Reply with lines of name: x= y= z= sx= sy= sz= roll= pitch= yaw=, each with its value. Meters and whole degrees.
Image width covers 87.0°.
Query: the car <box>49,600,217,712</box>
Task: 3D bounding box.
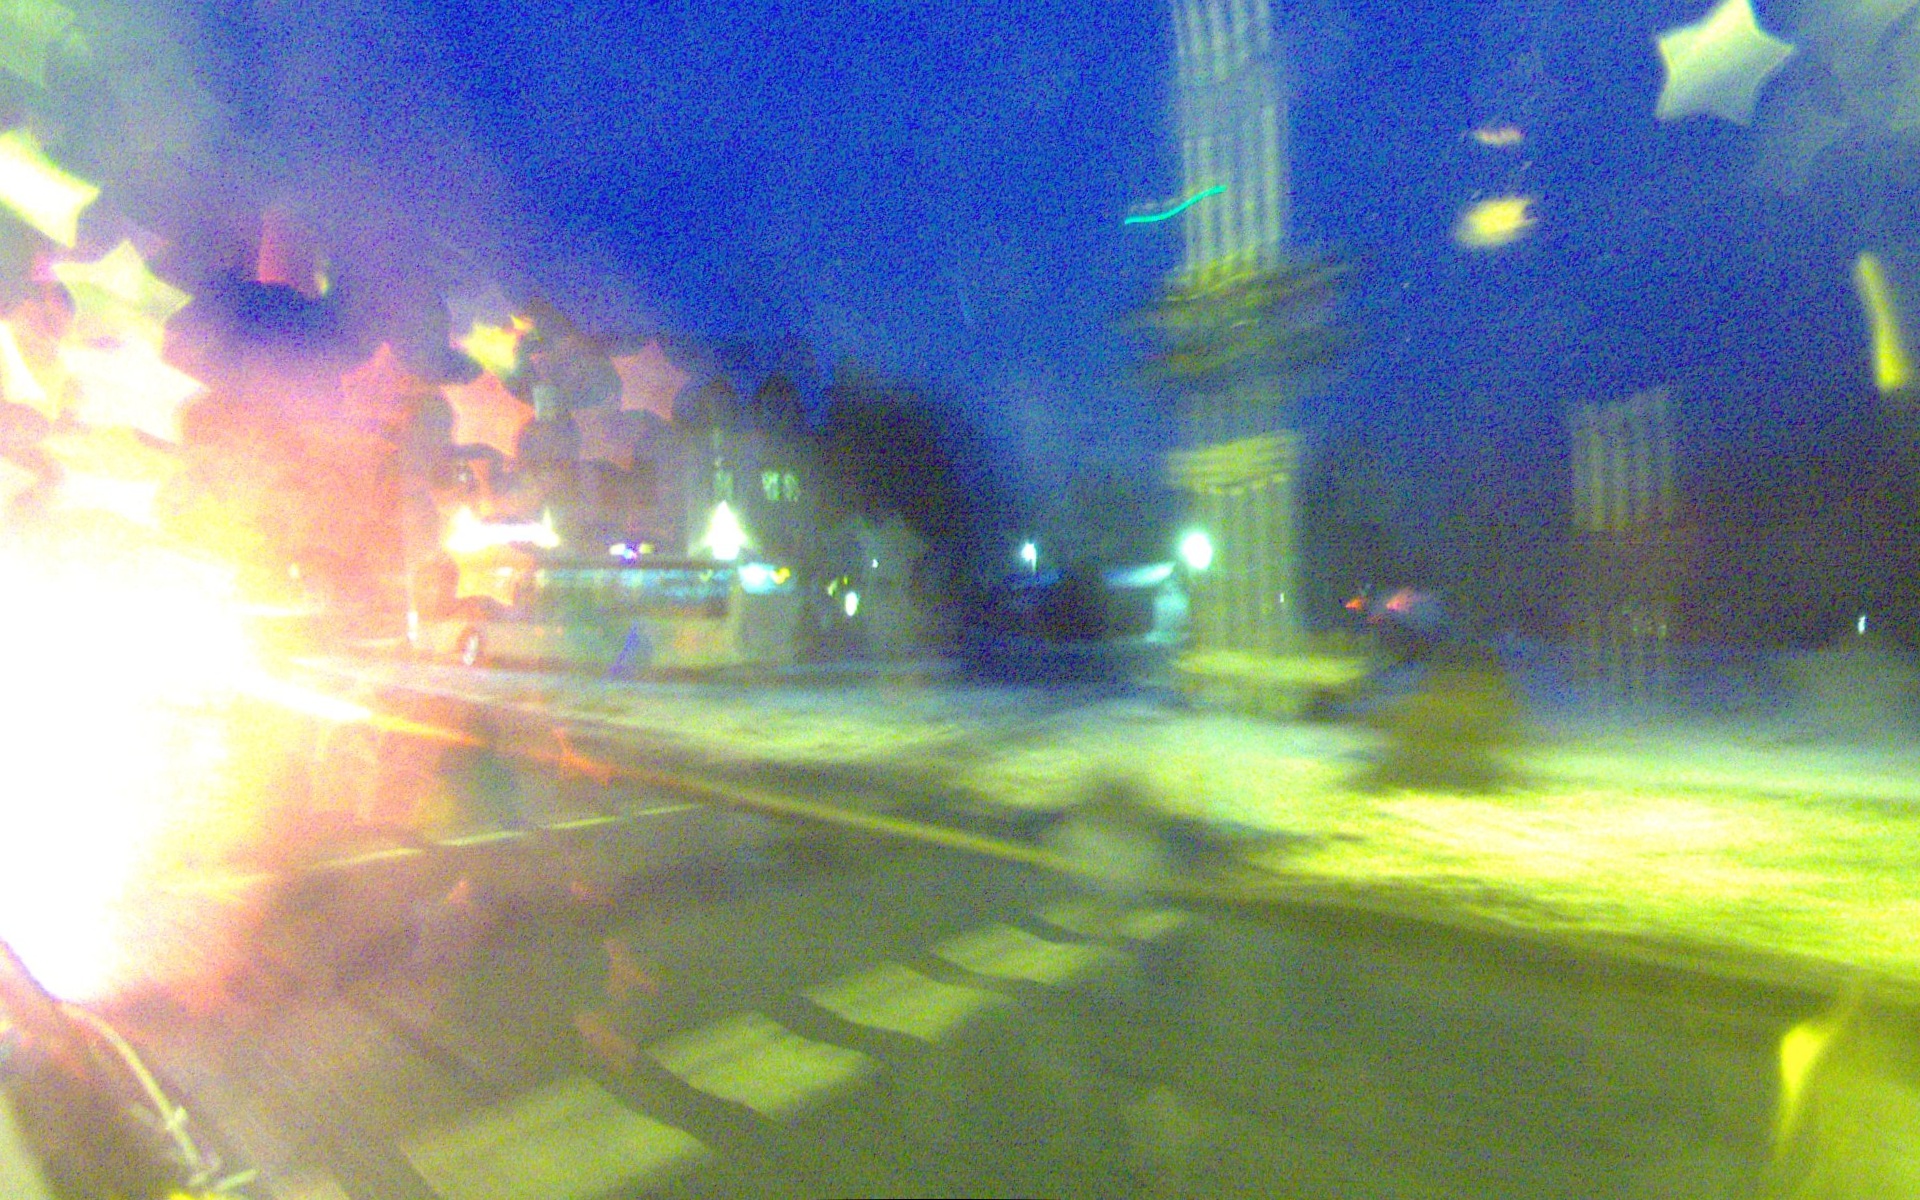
car: x=-13.406 y=0.814 z=16.319 sx=4.119 sy=1.522 sz=1.617 roll=1 pitch=-1 yaw=45

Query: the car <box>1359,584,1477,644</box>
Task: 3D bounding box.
car: x=17.453 y=0.462 z=38.573 sx=3.981 sy=2.071 sz=1.982 roll=1 pitch=3 yaw=28

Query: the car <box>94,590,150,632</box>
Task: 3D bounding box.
car: x=-33.990 y=0.408 z=41.131 sx=1.674 sy=1.611 sz=3.808 roll=0 pitch=1 yaw=-39

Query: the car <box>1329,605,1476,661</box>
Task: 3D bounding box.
car: x=15.817 y=1.132 z=36.217 sx=4.610 sy=1.709 sz=1.923 roll=2 pitch=3 yaw=30

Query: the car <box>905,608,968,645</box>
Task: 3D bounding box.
car: x=-1.152 y=1.235 z=47.952 sx=1.829 sy=1.408 sz=4.053 roll=3 pitch=2 yaw=-18

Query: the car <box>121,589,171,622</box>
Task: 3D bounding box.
car: x=-40.045 y=0.251 z=49.843 sx=1.689 sy=1.487 sz=3.878 roll=-2 pitch=2 yaw=-36

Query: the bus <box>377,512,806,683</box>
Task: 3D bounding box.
bus: x=-10.315 y=-0.118 z=27.366 sx=12.994 sy=3.897 sz=2.876 roll=0 pitch=1 yaw=27

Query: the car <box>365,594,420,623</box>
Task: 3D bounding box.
car: x=-30.263 y=0.448 z=54.054 sx=1.665 sy=1.408 sz=4.163 roll=3 pitch=0 yaw=-17

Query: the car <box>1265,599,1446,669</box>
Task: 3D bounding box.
car: x=11.343 y=0.911 z=29.136 sx=4.610 sy=1.709 sz=1.923 roll=2 pitch=3 yaw=30

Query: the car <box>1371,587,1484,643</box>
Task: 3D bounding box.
car: x=18.758 y=0.559 z=40.644 sx=3.981 sy=2.071 sz=1.748 roll=2 pitch=3 yaw=28

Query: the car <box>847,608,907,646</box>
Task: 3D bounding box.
car: x=-3.942 y=1.240 z=47.277 sx=1.829 sy=1.408 sz=4.053 roll=3 pitch=2 yaw=-18

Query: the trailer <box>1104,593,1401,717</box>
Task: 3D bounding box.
trailer: x=4.476 y=0.808 z=15.749 sx=4.092 sy=1.690 sz=1.796 roll=-1 pitch=-3 yaw=36
